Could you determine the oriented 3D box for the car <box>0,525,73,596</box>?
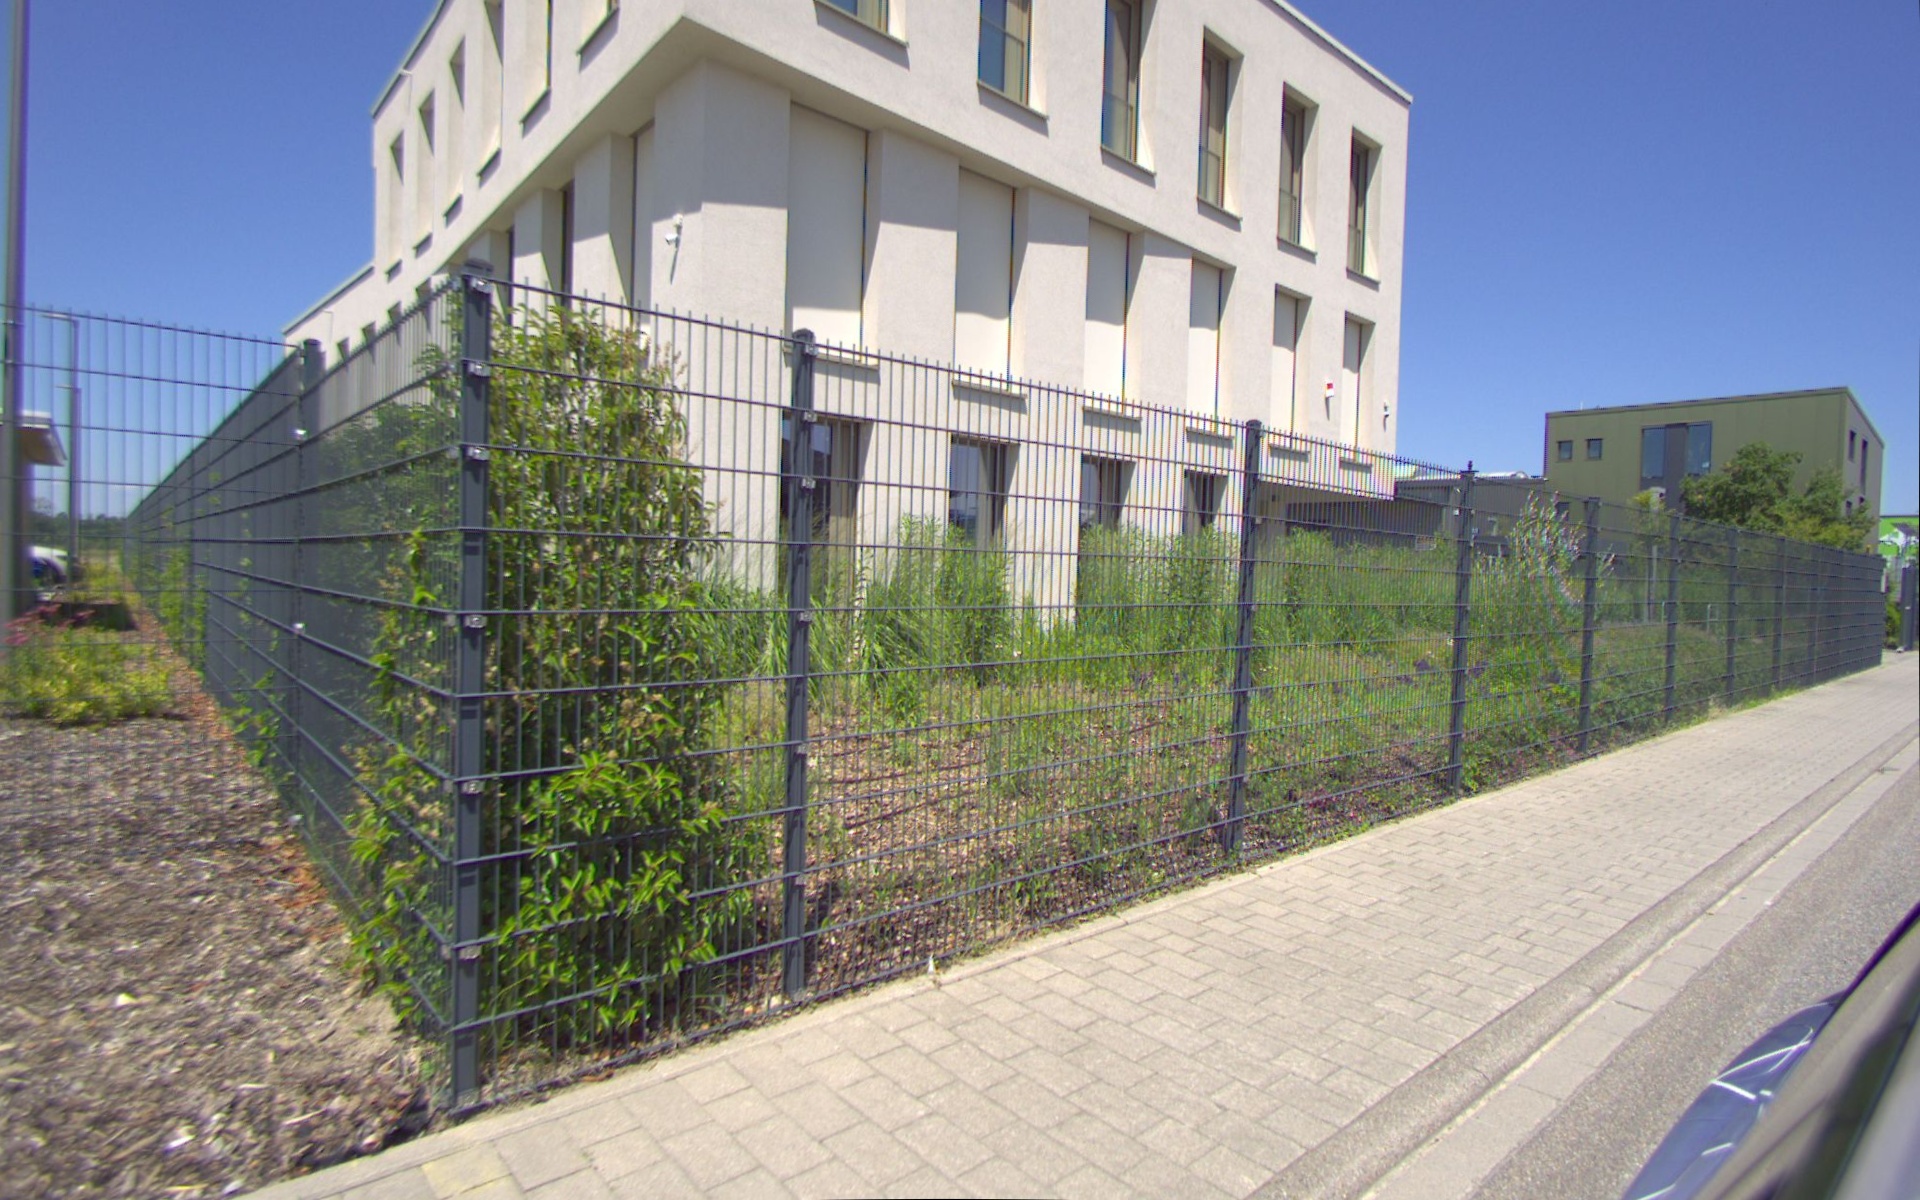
[{"bbox_3d":[-21.191,-0.888,21.183,3.872,1.450,1.670,2,1,-44],"label":"car"}]
